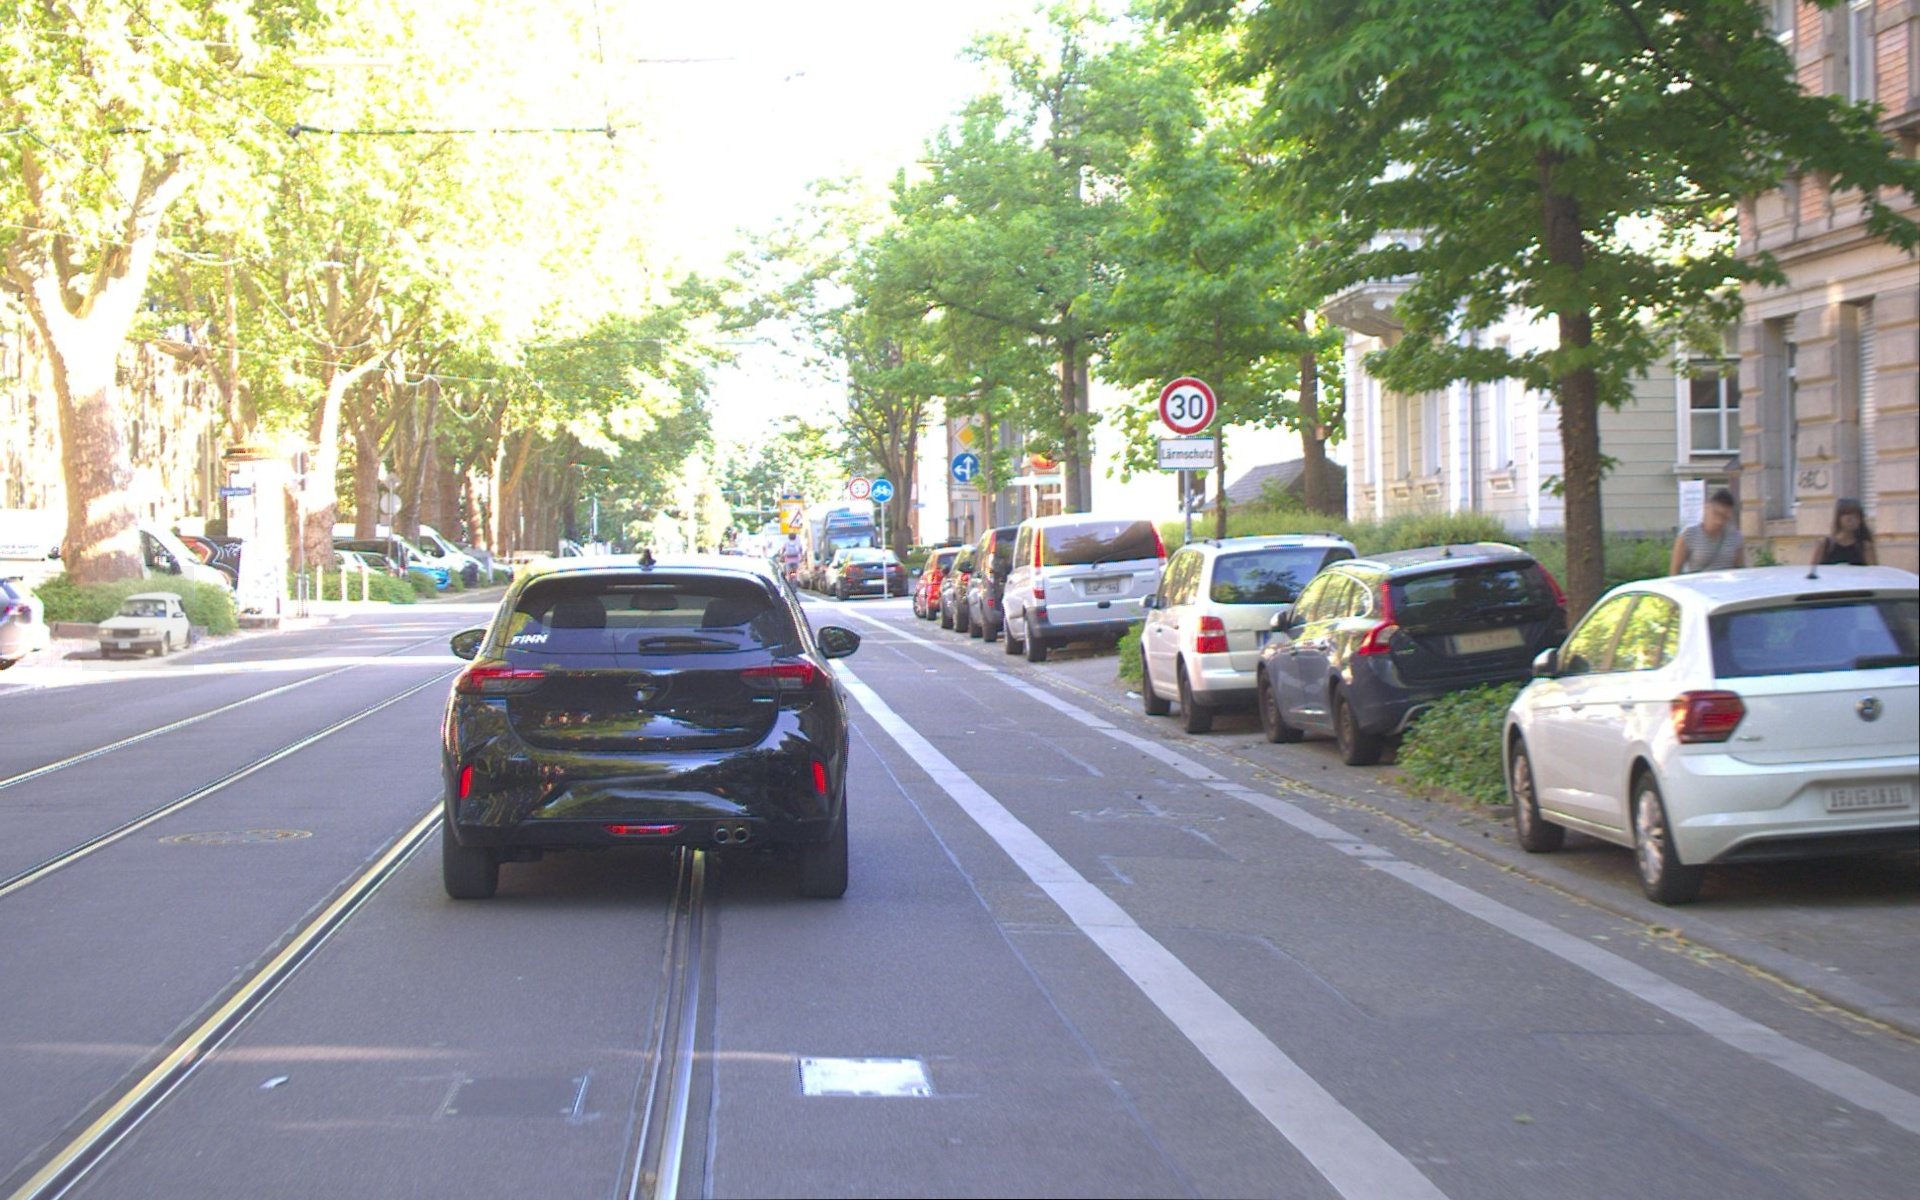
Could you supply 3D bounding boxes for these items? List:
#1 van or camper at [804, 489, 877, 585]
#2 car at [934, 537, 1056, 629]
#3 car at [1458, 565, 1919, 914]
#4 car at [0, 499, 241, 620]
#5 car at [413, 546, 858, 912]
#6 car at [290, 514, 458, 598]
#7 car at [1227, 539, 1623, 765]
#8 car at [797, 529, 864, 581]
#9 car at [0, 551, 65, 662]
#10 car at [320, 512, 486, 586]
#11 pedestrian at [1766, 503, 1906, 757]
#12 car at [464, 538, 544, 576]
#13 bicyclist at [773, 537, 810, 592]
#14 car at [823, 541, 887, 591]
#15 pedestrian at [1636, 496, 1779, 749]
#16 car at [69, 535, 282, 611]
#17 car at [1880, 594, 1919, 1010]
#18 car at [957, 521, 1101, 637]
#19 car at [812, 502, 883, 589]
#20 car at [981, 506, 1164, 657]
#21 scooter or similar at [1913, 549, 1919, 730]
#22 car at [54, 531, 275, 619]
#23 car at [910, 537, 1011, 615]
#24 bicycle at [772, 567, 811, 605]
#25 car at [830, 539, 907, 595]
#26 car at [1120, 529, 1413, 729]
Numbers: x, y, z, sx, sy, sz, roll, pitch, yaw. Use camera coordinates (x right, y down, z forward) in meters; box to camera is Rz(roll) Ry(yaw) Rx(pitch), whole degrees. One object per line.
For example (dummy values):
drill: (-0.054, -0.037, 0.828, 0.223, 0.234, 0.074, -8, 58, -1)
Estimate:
van or camper: (-4.199, -2.177, 119.715, 2.254, 3.205, 5.532, -2, 1, -4)
car: (0.583, -0.321, 61.236, 1.711, 1.509, 4.037, -3, 1, -5)
car: (3.802, 0.564, 16.562, 1.884, 1.363, 4.107, -3, 1, -4)
car: (-16.434, -0.785, 65.850, 5.032, 2.251, 2.086, 0, 1, -7)
car: (-1.426, 0.491, 15.726, 1.763, 1.455, 3.951, 0, 1, -4)
car: (-18.989, -1.426, 111.623, 5.035, 2.366, 2.081, -4, 1, -3)
car: (3.376, 0.327, 25.897, 1.884, 1.462, 4.595, -3, 1, -6)
car: (-4.794, -1.665, 126.900, 2.254, 1.834, 5.532, -2, 1, -4)
car: (-14.306, 0.060, 46.479, 3.986, 1.460, 1.854, 0, 1, -4)
car: (-20.117, -1.848, 124.290, 5.638, 2.584, 2.196, 0, 1, 0)
pedestrian: (5.981, 0.196, 23.511, 0.726, 1.703, 0.856, 0, 1, 1)
car: (-24.780, -2.340, 186.878, 3.987, 2.007, 2.000, 1, 1, 3)
bicyclist: (-4.641, -0.973, 94.442, 0.958, 1.494, 1.094, 0, 1, -5)
car: (-3.253, -1.046, 105.991, 1.803, 1.429, 4.000, -2, 0, -4)
pedestrian: (5.085, 0.145, 23.434, 0.726, 1.687, 0.957, 0, 1, -2)
car: (-16.929, -0.585, 74.390, 4.298, 1.601, 1.926, 0, 1, -6)
car: (4.228, 0.673, 10.061, 1.672, 1.407, 3.843, -3, 1, -5)
car: (1.067, -0.353, 55.312, 1.885, 1.760, 4.679, -1, 1, -4)
car: (-3.712, -1.809, 113.171, 2.085, 2.762, 4.698, -2, 1, -4)
car: (1.451, -0.272, 46.403, 1.884, 1.845, 4.968, -3, 1, -4)
scooter or similar: (6.882, 0.279, 22.992, 0.575, 1.242, 1.335, 0, 1, -3)
car: (-16.572, -0.526, 71.773, 4.298, 1.795, 1.926, 0, 1, -6)
car: (-0.017, -0.504, 69.944, 1.702, 1.418, 3.979, -4, 1, -4)
bicycle: (-4.639, -0.390, 94.473, 0.967, 0.995, 2.583, 0, 1, -5)
car: (-2.573, -0.918, 95.684, 1.884, 1.429, 4.531, -3, 1, -4)
car: (2.644, 0.209, 30.613, 1.884, 1.562, 4.243, -3, 1, -4)
